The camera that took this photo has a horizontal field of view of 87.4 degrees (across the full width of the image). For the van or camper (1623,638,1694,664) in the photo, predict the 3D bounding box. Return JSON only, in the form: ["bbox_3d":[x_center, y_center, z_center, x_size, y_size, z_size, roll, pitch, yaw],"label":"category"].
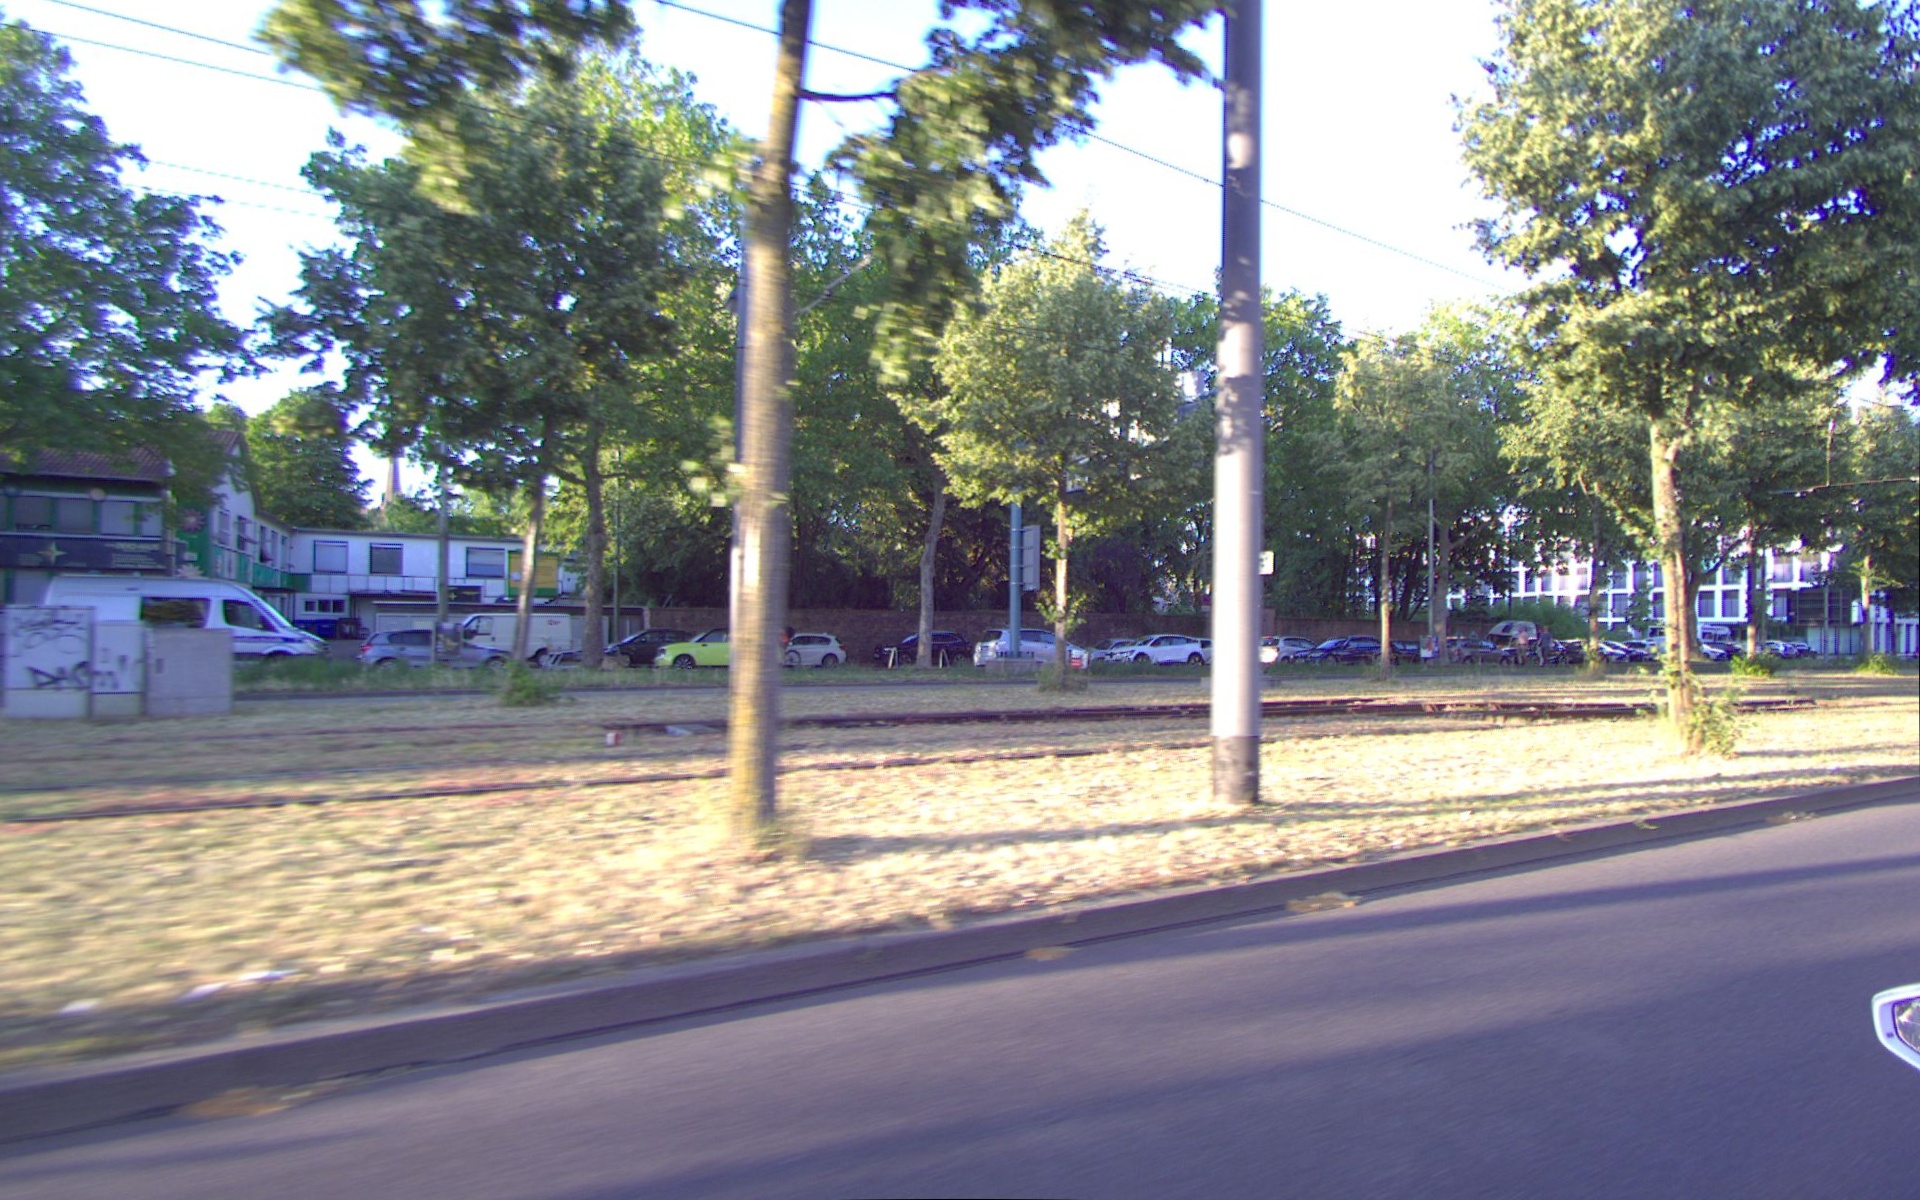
[{"bbox_3d":[51.490,3.758,74.056,1.984,1.814,3.954,2,-2,-40],"label":"van or camper"}]

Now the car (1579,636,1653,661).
[{"bbox_3d":[46.310,3.418,70.954,1.902,1.661,3.964,2,-2,-33],"label":"car"}]

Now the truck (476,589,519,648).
[{"bbox_3d":[-29.654,1.210,64.511,2.259,3.565,6.655,1,-2,-23],"label":"truck"}]

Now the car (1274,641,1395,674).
[{"bbox_3d":[16.097,2.458,43.149,5.075,1.332,1.987,2,-2,-27],"label":"car"}]

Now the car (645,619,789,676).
[{"bbox_3d":[-7.548,1.462,31.248,3.953,1.661,1.985,2,-2,-30],"label":"car"}]

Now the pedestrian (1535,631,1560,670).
[{"bbox_3d":[26.922,2.326,46.025,0.857,1.766,0.689,2,-2,-32],"label":"pedestrian"}]

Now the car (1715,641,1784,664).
[{"bbox_3d":[63.139,4.194,80.349,1.902,1.661,3.964,2,-2,-33],"label":"car"}]

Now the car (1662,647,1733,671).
[{"bbox_3d":[56.397,4.511,76.899,1.895,1.661,3.979,2,-2,-23],"label":"car"}]

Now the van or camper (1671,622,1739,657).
[{"bbox_3d":[69.869,3.720,94.192,6.180,3.126,2.701,2,-1,-27],"label":"van or camper"}]

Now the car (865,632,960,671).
[{"bbox_3d":[-2.064,2.244,44.023,3.789,1.617,1.759,2,-2,-27],"label":"car"}]

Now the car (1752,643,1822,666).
[{"bbox_3d":[66.059,4.335,80.278,1.902,1.661,3.964,2,-2,-33],"label":"car"}]

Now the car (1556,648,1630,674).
[{"bbox_3d":[43.891,4.236,69.705,1.898,1.661,3.971,2,-2,-28],"label":"car"}]

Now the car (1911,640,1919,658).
[{"bbox_3d":[91.620,4.654,94.724,3.450,1.602,1.852,2,-2,-29],"label":"car"}]

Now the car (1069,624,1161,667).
[{"bbox_3d":[7.509,2.196,48.578,3.944,2.040,1.989,2,-2,-24],"label":"car"}]

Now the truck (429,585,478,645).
[{"bbox_3d":[-31.891,0.966,63.430,2.259,3.565,6.655,1,-2,-23],"label":"truck"}]

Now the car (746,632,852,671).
[{"bbox_3d":[-6.699,2.142,41.894,3.997,1.511,1.854,2,-2,-27],"label":"car"}]

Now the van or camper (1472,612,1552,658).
[{"bbox_3d":[34.755,2.215,63.196,5.434,2.771,2.074,2,-2,-32],"label":"van or camper"}]

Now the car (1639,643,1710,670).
[{"bbox_3d":[53.978,4.244,75.945,1.988,1.869,3.970,2,-2,-29],"label":"car"}]

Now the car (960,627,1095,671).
[{"bbox_3d":[2.456,1.773,36.243,4.503,1.518,1.985,2,-2,-30],"label":"car"}]

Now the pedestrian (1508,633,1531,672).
[{"bbox_3d":[26.242,2.452,47.105,0.858,1.782,0.688,2,-2,-38],"label":"pedestrian"}]

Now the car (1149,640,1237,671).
[{"bbox_3d":[11.790,2.809,50.899,3.944,1.505,1.989,2,-2,-23],"label":"car"}]

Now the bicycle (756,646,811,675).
[{"bbox_3d":[-6.893,2.362,39.171,1.989,1.105,0.729,2,-2,-25],"label":"bicycle"}]

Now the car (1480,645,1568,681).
[{"bbox_3d":[29.715,3.324,52.908,4.736,1.773,1.984,2,-2,-31],"label":"car"}]

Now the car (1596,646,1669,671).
[{"bbox_3d":[48.687,4.232,72.796,1.902,1.661,3.964,2,-2,-33],"label":"car"}]

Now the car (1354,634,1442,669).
[{"bbox_3d":[20.896,2.464,47.952,3.785,1.581,1.798,2,-2,-25],"label":"car"}]

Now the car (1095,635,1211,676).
[{"bbox_3d":[7.507,2.153,39.010,4.255,1.519,1.891,2,-2,-30],"label":"car"}]

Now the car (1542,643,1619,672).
[{"bbox_3d":[34.691,3.201,56.155,3.949,1.505,1.986,2,-2,-27],"label":"car"}]

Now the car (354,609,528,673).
[{"bbox_3d":[-14.450,1.147,28.009,4.162,1.658,1.983,2,-2,-32],"label":"car"}]

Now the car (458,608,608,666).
[{"bbox_3d":[-15.945,1.403,37.557,4.993,2.040,1.986,2,-2,-27],"label":"car"}]

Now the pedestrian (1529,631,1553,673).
[{"bbox_3d":[27.121,2.422,46.893,0.858,1.895,0.688,2,-2,-38],"label":"pedestrian"}]

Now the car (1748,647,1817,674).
[{"bbox_3d":[67.344,4.915,82.316,1.979,2.040,3.964,2,-2,-33],"label":"car"}]

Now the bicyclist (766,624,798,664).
[{"bbox_3d":[-6.937,1.719,39.163,1.070,1.553,0.726,2,-2,-24],"label":"bicyclist"}]

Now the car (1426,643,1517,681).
[{"bbox_3d":[25.464,3.081,50.002,4.104,1.773,1.988,2,-2,-25],"label":"car"}]

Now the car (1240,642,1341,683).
[{"bbox_3d":[14.985,2.817,45.513,4.104,1.773,1.988,2,-2,-25],"label":"car"}]

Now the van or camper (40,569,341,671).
[{"bbox_3d":[-19.459,0.566,25.842,5.705,2.396,2.277,2,-2,-26],"label":"van or camper"}]
